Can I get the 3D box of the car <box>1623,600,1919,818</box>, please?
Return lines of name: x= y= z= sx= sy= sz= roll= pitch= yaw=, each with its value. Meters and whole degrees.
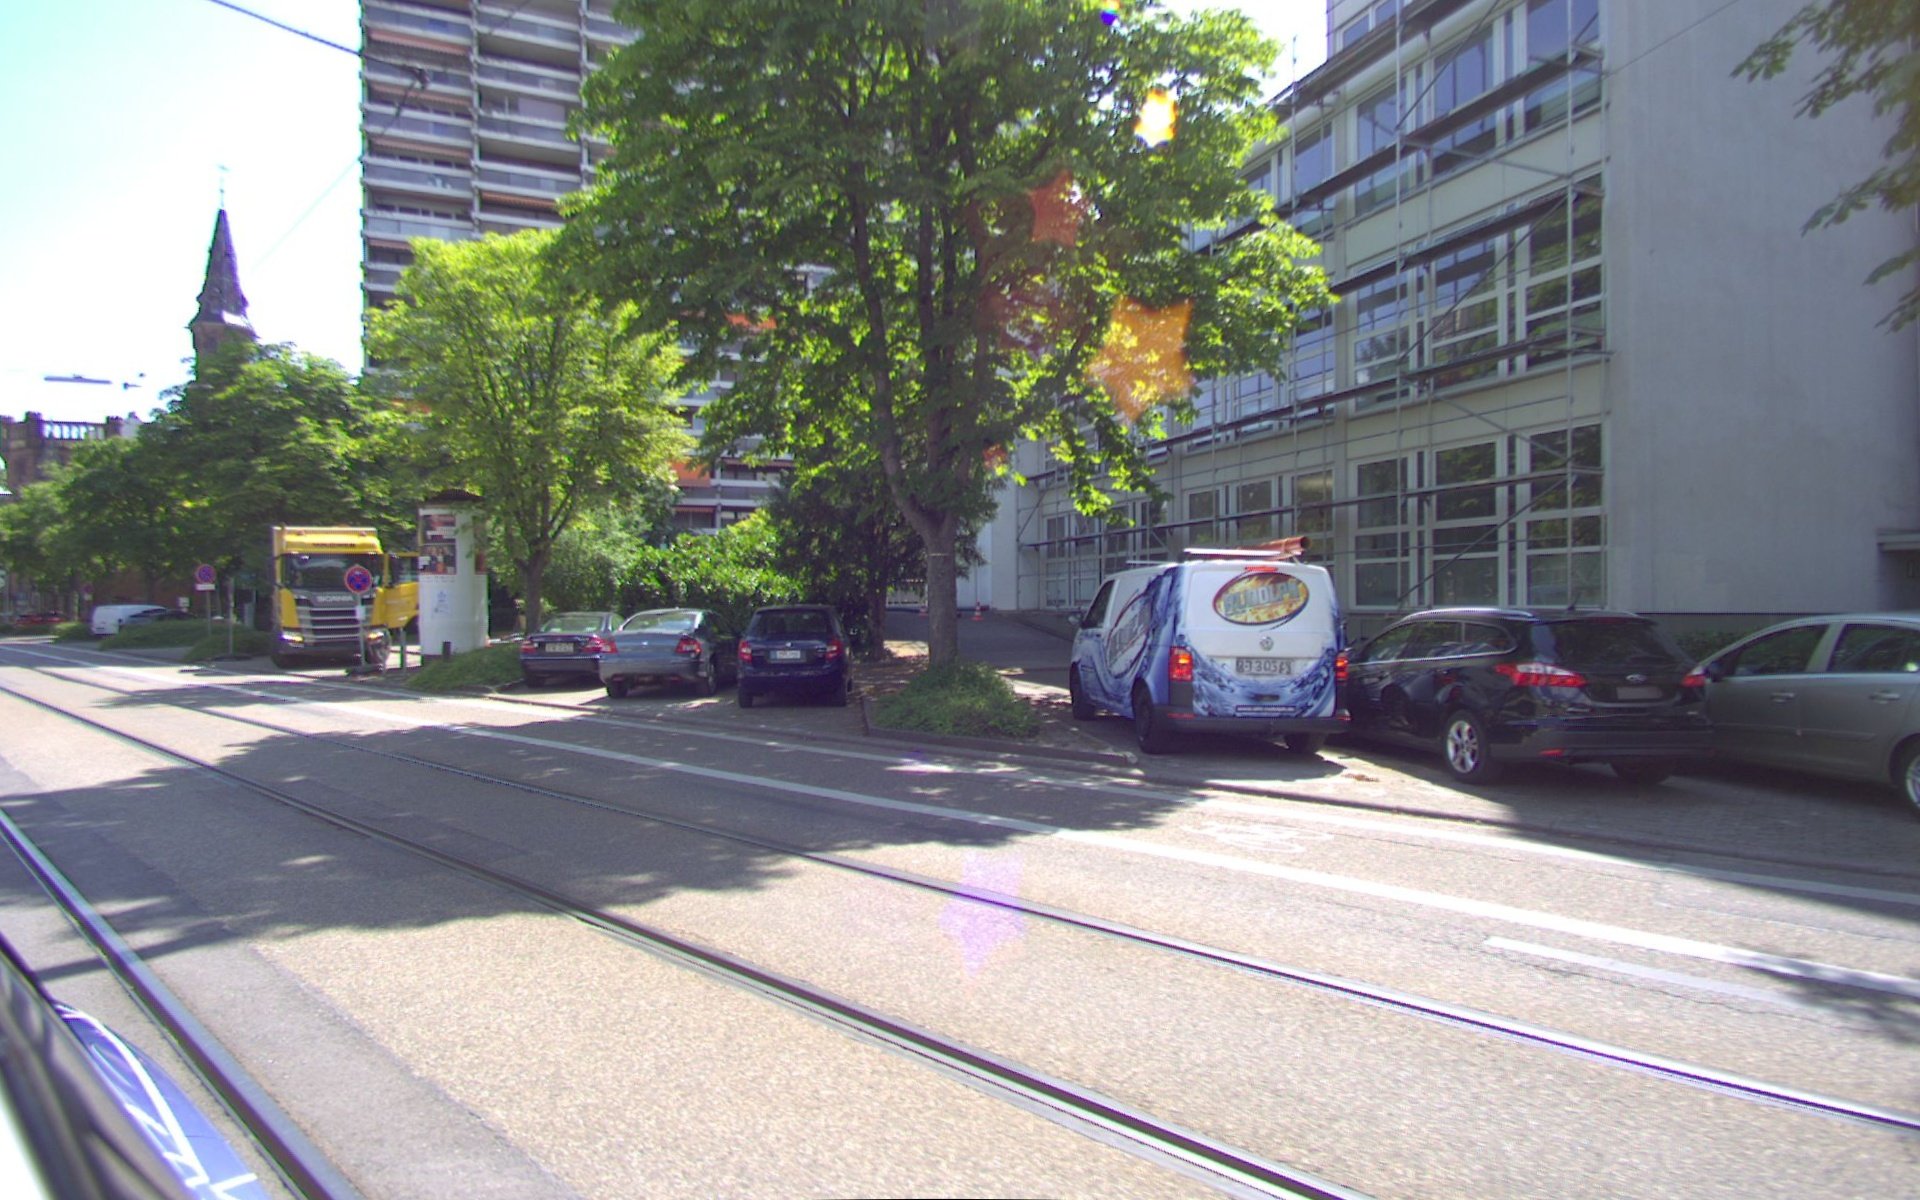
car: x=7.312 y=0.774 z=7.804 sx=1.736 sy=1.478 sz=3.713 roll=1 pitch=-1 yaw=-5

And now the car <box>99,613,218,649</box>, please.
car: x=-36.435 y=1.360 z=46.162 sx=1.749 sy=1.405 sz=4.444 roll=-2 pitch=0 yaw=2

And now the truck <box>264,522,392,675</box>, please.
truck: x=-19.500 y=-0.083 z=30.850 sx=2.679 sy=3.870 sz=10.992 roll=-2 pitch=1 yaw=-35

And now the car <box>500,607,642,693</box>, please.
car: x=-7.550 y=0.938 z=20.010 sx=1.735 sy=1.518 sz=3.714 roll=0 pitch=-1 yaw=-6

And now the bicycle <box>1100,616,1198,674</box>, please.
bicycle: x=3.929 y=0.921 z=20.997 sx=1.983 sy=1.083 sz=0.559 roll=-2 pitch=0 yaw=-24

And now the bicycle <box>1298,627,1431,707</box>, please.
bicycle: x=6.237 y=1.007 z=15.586 sx=2.100 sy=1.083 sz=0.559 roll=-2 pitch=0 yaw=-24

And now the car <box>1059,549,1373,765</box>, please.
car: x=2.581 y=0.579 z=11.588 sx=1.892 sy=1.949 sz=4.763 roll=1 pitch=-1 yaw=-7

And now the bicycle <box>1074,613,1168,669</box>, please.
bicycle: x=3.468 y=0.867 z=21.804 sx=1.983 sy=1.083 sz=0.559 roll=-2 pitch=0 yaw=-24

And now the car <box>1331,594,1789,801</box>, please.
car: x=5.138 y=0.772 z=9.355 sx=1.790 sy=1.518 sz=3.713 roll=1 pitch=-1 yaw=-5

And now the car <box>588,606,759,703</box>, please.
car: x=-4.897 y=0.900 z=17.924 sx=1.848 sy=1.518 sz=4.203 roll=0 pitch=-1 yaw=0

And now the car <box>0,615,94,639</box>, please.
car: x=-65.544 y=1.914 z=72.734 sx=1.981 sy=1.578 sz=4.762 roll=-1 pitch=0 yaw=12

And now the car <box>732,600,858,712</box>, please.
car: x=-2.491 y=0.824 z=16.005 sx=1.666 sy=1.555 sz=3.713 roll=0 pitch=-1 yaw=-5

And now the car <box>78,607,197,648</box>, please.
car: x=-41.261 y=1.349 z=50.914 sx=1.879 sy=1.804 sz=4.537 roll=-2 pitch=0 yaw=8

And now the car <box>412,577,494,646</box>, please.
car: x=-20.783 y=0.376 z=41.759 sx=2.147 sy=2.585 sz=6.746 roll=-1 pitch=1 yaw=-19
